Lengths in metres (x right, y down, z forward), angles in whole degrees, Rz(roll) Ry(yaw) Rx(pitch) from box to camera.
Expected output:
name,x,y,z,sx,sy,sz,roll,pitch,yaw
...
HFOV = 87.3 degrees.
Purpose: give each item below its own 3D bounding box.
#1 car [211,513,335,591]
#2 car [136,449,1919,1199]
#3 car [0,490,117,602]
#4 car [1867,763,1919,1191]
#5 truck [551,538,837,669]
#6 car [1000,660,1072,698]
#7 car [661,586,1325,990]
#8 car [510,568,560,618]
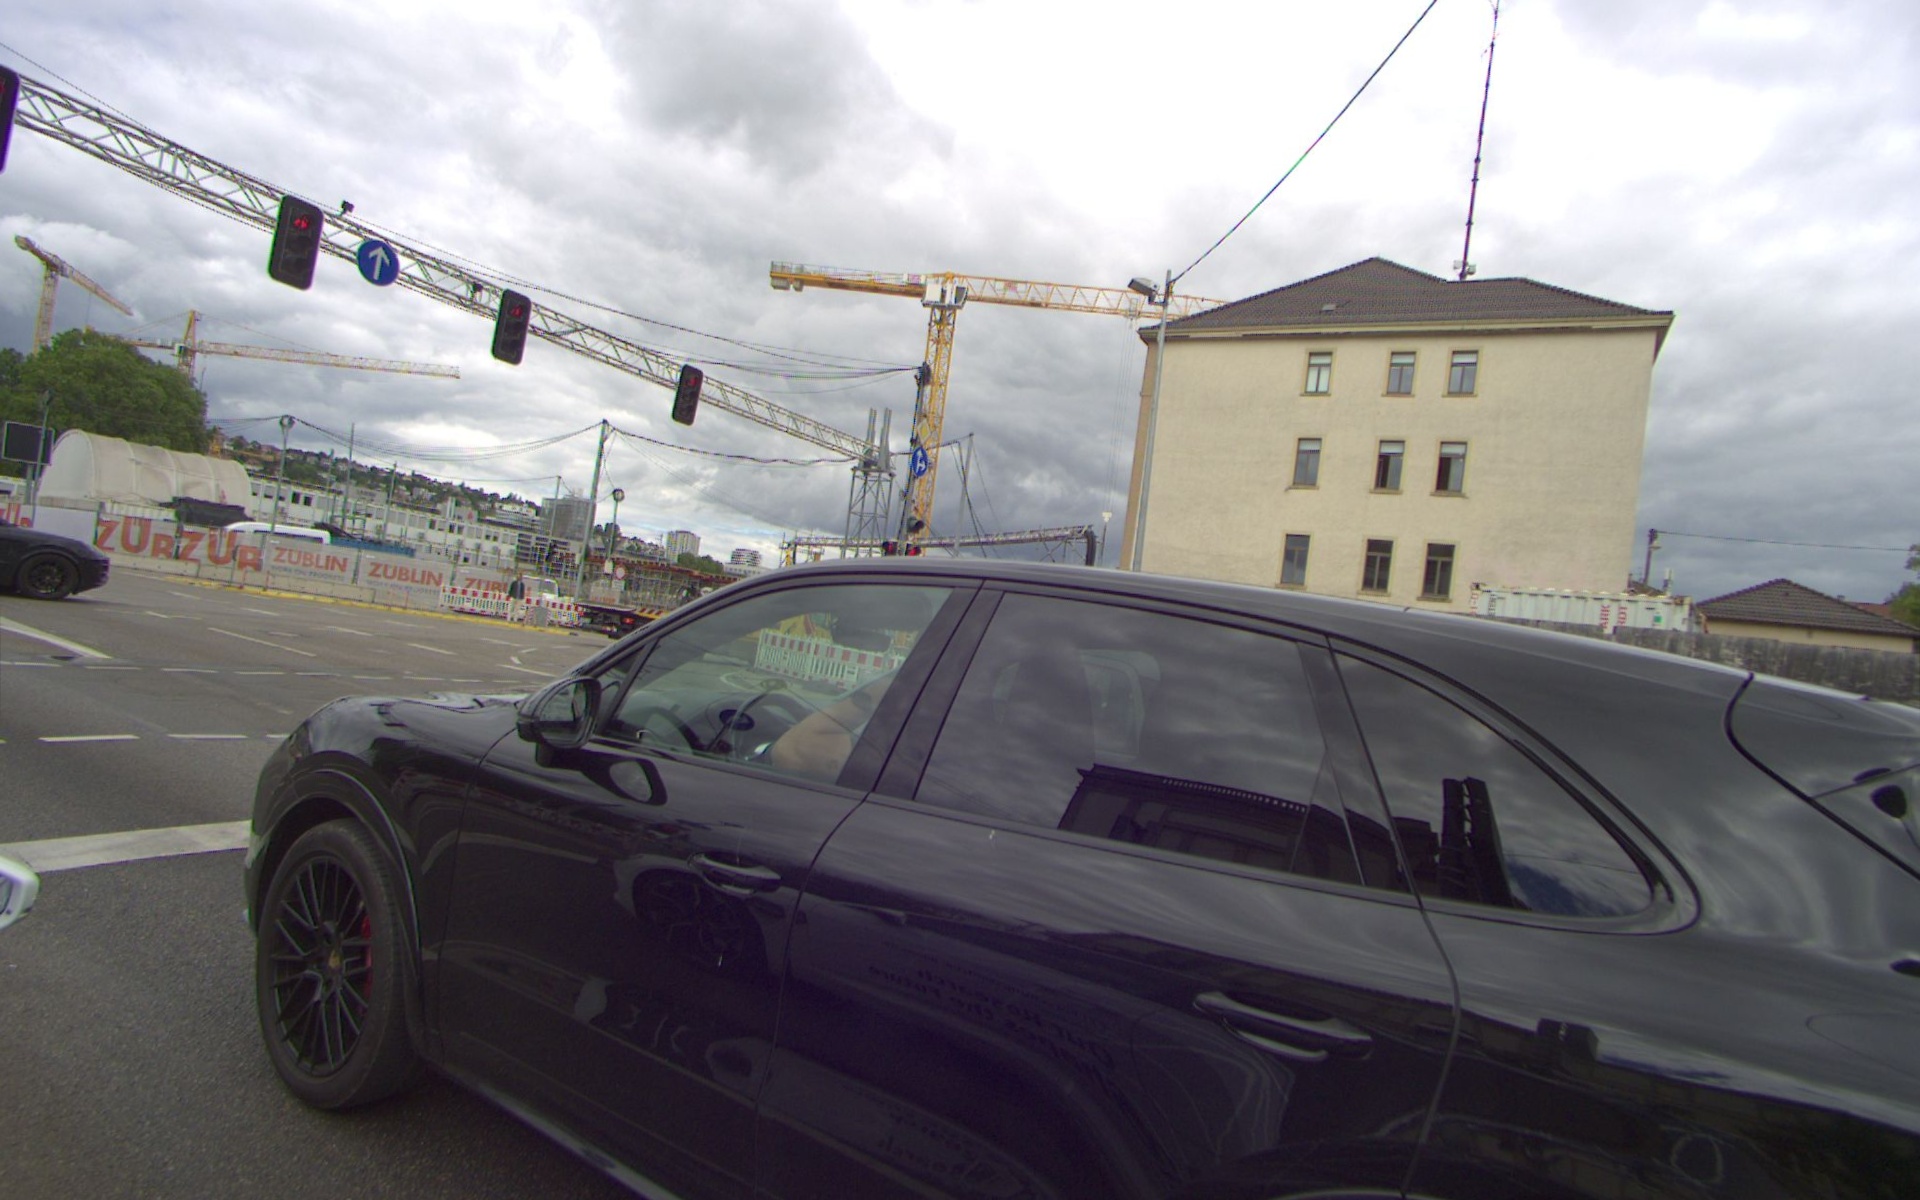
name,x,y,z,sx,sy,sz,roll,pitch,yaw
car,-29.568,-2.043,43.369,1.660,2.692,3.979,6,-2,45
car,-0.051,0.695,2.660,4.410,1.735,1.828,6,-2,32
car,-16.566,-1.112,15.638,1.986,1.643,4.820,6,-2,29
car,5.764,1.686,2.563,4.729,1.644,1.828,6,-2,32
truck,-7.736,0.313,31.004,2.583,2.835,9.002,7,-2,31
car,3.774,3.875,49.209,1.655,1.512,3.993,6,-2,34
car,0.114,0.984,6.658,3.934,1.644,1.679,6,-2,32
car,-19.158,-0.322,45.295,1.757,1.976,3.108,8,-2,-25
